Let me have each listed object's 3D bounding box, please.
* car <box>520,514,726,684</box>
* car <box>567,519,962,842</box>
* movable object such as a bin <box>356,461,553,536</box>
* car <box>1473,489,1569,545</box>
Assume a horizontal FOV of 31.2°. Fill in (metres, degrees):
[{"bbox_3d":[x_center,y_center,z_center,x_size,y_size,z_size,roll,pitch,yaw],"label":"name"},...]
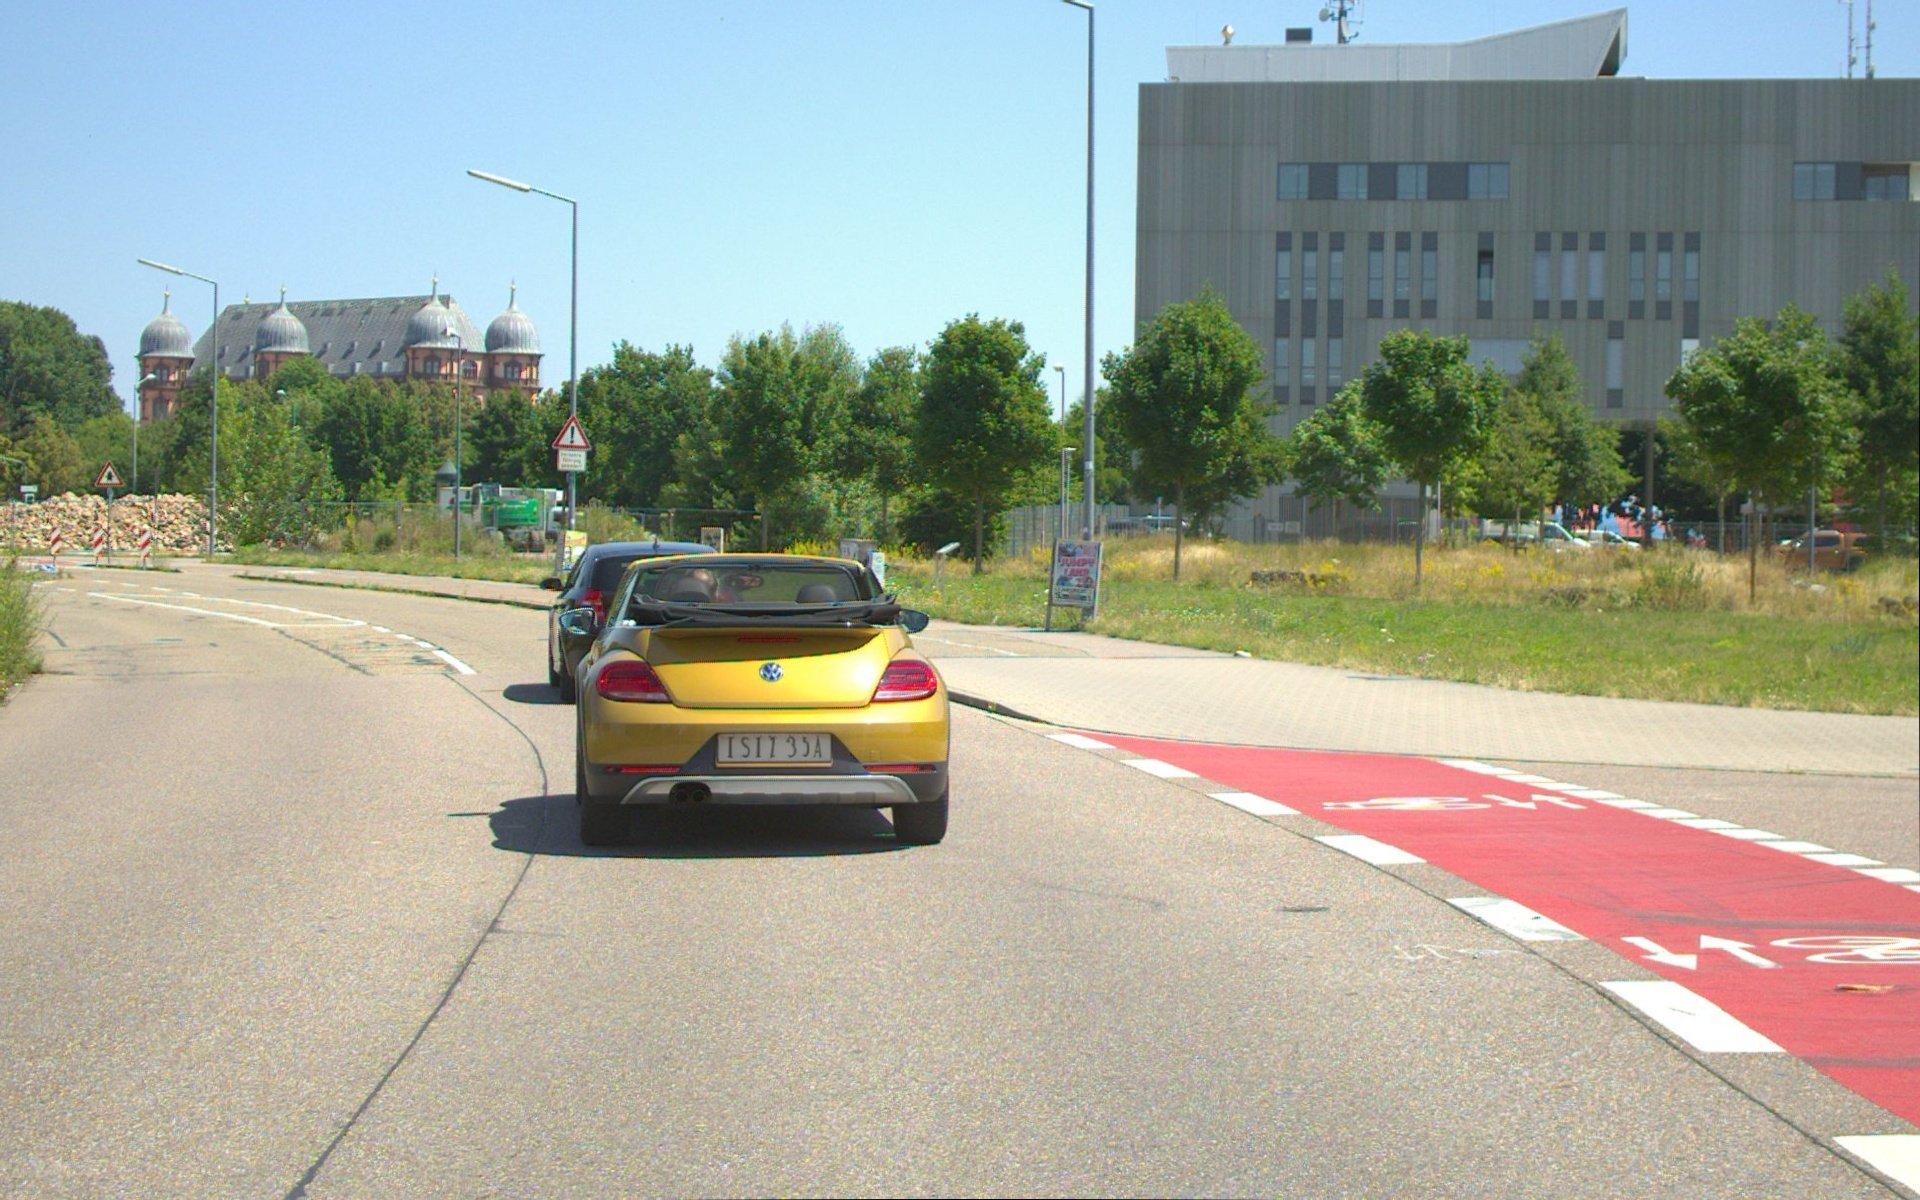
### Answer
[{"bbox_3d":[-3.025,-0.058,31.484,1.726,1.438,4.001,1,1,-4],"label":"car"},{"bbox_3d":[-1.076,0.330,17.698,1.789,1.431,3.815,1,2,-5],"label":"car"},{"bbox_3d":[-23.194,-4.631,157.203,4.939,3.249,10.469,0,2,-33],"label":"movable object such as a bin"},{"bbox_3d":[23.188,-3.430,141.979,3.844,2.286,1.742,1,1,11],"label":"car"}]
